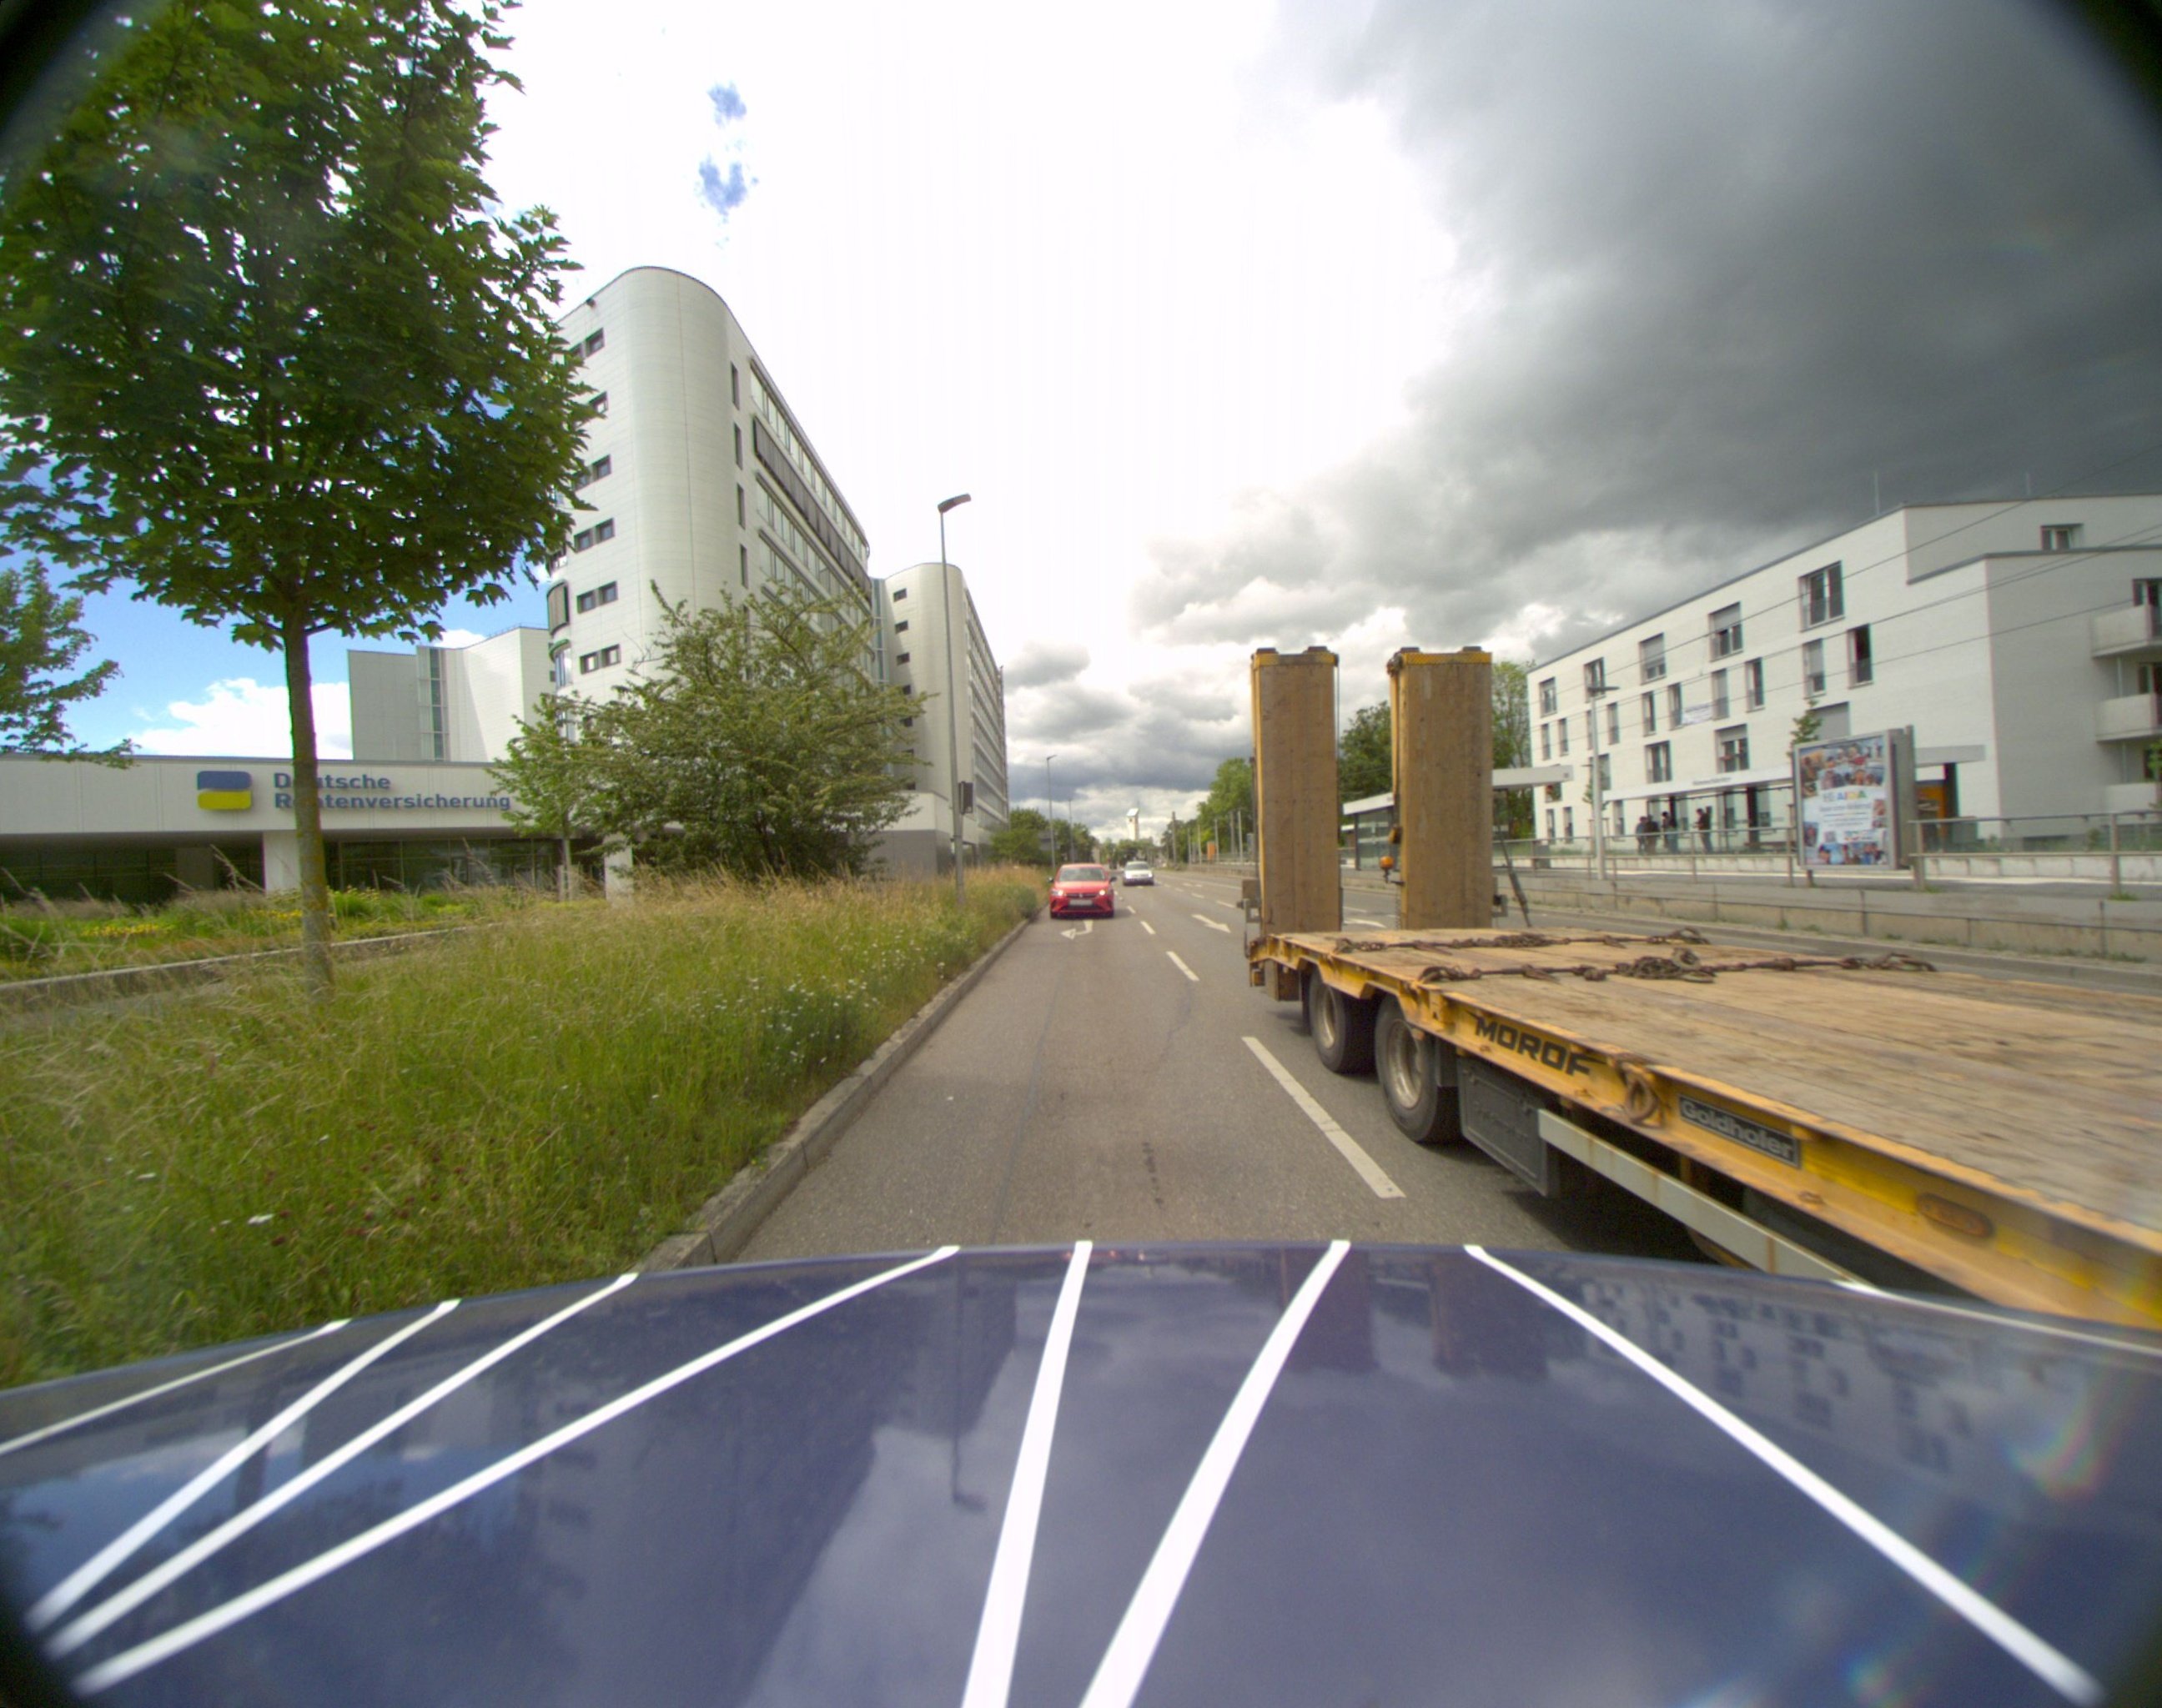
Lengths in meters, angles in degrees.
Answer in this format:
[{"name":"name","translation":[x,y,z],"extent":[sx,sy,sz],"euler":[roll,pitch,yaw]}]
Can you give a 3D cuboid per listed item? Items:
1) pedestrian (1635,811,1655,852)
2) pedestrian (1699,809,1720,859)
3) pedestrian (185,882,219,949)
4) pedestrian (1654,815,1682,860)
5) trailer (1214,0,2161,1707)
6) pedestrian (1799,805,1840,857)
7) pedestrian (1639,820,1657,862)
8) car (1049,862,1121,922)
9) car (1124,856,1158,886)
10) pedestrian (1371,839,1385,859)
[{"name":"pedestrian","translation":[22.204,-0.884,29.901],"extent":[0.487,1.587,0.679],"euler":[-3,0,44]},{"name":"pedestrian","translation":[22.702,-0.709,27.464],"extent":[0.487,1.755,0.679],"euler":[-3,0,35]},{"name":"pedestrian","translation":[-26.975,1.877,23.333],"extent":[0.693,2.002,0.609],"euler":[-2,1,42]},{"name":"pedestrian","translation":[22.669,-0.626,29.361],"extent":[0.490,1.715,0.676],"euler":[-3,0,-34]},{"name":"trailer","translation":[2.827,-0.211,2.602],"extent":[2.736,3.537,11.254],"euler":[-3,0,1]},{"name":"pedestrian","translation":[22.975,-0.707,23.663],"extent":[0.562,1.545,0.678],"euler":[-3,0,2]},{"name":"pedestrian","translation":[21.637,-0.491,29.014],"extent":[0.487,1.587,0.679],"euler":[-3,0,35]},{"name":"car","translation":[0.184,1.006,21.959],"extent":[1.790,1.453,4.853],"euler":[-3,0,2]},{"name":"car","translation":[3.468,0.950,44.577],"extent":[1.841,1.586,4.001],"euler":[-3,0,3]},{"name":"pedestrian","translation":[22.744,-0.366,58.214],"extent":[0.743,1.522,0.547],"euler":[-3,0,-3]}]
